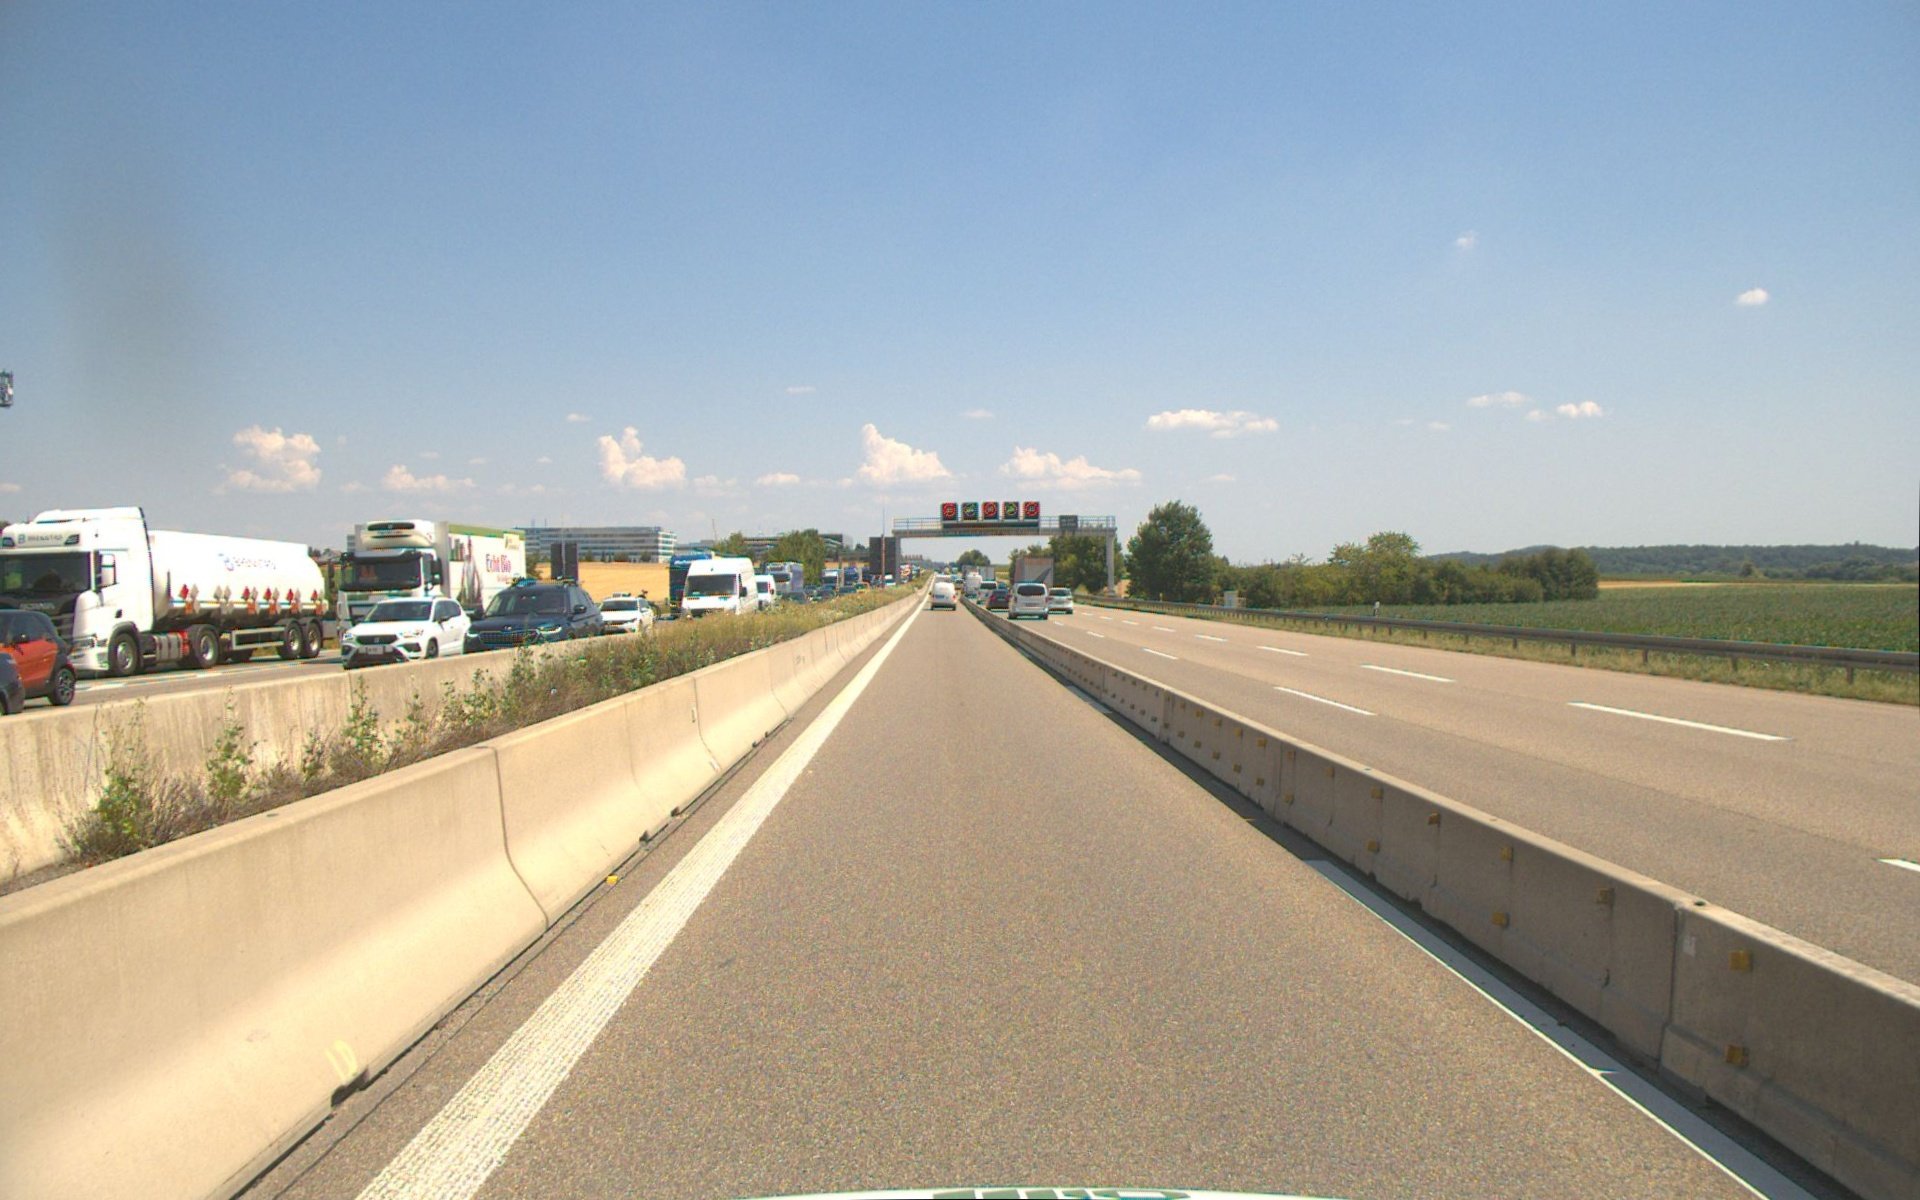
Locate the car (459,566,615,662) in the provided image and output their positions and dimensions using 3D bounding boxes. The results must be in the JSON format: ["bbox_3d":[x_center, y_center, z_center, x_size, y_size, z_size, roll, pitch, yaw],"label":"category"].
[{"bbox_3d":[-7.650,0.221,30.345,1.746,1.617,4.540,0,0,-1],"label":"car"}]

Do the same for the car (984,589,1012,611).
[{"bbox_3d":[2.568,-0.015,111.424,1.737,1.472,3.999,0,0,-1],"label":"car"}]

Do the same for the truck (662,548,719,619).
[{"bbox_3d":[-16.502,-1.031,101.550,2.753,4.200,4.840,-1,1,-1],"label":"truck"}]

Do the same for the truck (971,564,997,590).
[{"bbox_3d":[3.824,-3.660,265.035,3.738,3.973,9.578,-1,1,-1],"label":"truck"}]

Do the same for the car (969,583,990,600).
[{"bbox_3d":[1.728,-0.773,145.815,1.737,1.472,3.999,0,0,-1],"label":"car"}]

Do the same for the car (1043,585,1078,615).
[{"bbox_3d":[6.398,0.002,105.593,1.953,1.825,3.999,0,0,-1],"label":"car"}]

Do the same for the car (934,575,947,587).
[{"bbox_3d":[-2.967,-2.855,249.113,1.953,1.867,3.999,0,0,-1],"label":"car"}]

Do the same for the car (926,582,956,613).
[{"bbox_3d":[-1.293,-0.142,112.451,1.953,2.049,3.999,0,0,-1],"label":"car"}]

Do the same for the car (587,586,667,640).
[{"bbox_3d":[-11.655,0.406,58.173,1.848,1.739,5.520,-2,1,-2],"label":"car"}]

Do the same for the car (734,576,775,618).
[{"bbox_3d":[-13.054,-0.234,105.414,2.005,2.545,5.811,-1,1,-1],"label":"car"}]

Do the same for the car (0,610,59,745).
[{"bbox_3d":[-11.143,0.860,16.163,1.973,1.410,5.084,-1,1,-1],"label":"car"}]

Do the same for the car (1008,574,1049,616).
[{"bbox_3d":[3.601,-0.247,87.555,1.953,2.157,3.999,0,0,-1],"label":"car"}]

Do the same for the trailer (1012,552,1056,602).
[{"bbox_3d":[6.176,-1.852,139.731,3.211,4.036,9.110,0,0,-1],"label":"trailer"}]

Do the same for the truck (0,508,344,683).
[{"bbox_3d":[-20.652,-0.157,44.214,2.839,3.842,13.292,-3,0,2],"label":"truck"}]

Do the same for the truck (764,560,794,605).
[{"bbox_3d":[-17.242,-1.643,157.600,2.362,4.158,4.659,-1,0,-1],"label":"truck"}]

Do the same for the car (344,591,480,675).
[{"bbox_3d":[-11.732,0.663,35.647,1.527,1.650,4.045,-1,1,1],"label":"car"}]

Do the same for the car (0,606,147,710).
[{"bbox_3d":[-15.150,0.918,27.272,1.531,1.542,3.937,-2,0,-1],"label":"car"}]

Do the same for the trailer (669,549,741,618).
[{"bbox_3d":[-16.677,-1.090,109.124,2.753,4.200,14.127,-1,1,-1],"label":"trailer"}]

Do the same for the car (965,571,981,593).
[{"bbox_3d":[1.514,-1.994,188.352,1.737,2.434,3.999,0,0,-1],"label":"car"}]

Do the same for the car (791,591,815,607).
[{"bbox_3d":[-13.328,-0.048,140.659,1.712,1.288,4.433,1,0,-1],"label":"car"}]

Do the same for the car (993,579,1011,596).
[{"bbox_3d":[4.914,-1.480,195.765,1.953,2.049,3.999,0,0,-1],"label":"car"}]

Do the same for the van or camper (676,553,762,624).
[{"bbox_3d":[-8.180,-0.404,56.836,1.994,2.260,7.206,1,0,-1],"label":"van or camper"}]

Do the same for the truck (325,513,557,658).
[{"bbox_3d":[-15.219,-0.426,49.977,2.738,3.672,13.287,-3,0,0],"label":"truck"}]

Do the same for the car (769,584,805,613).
[{"bbox_3d":[-9.513,-0.098,91.270,1.565,1.494,4.532,-1,1,-1],"label":"car"}]
